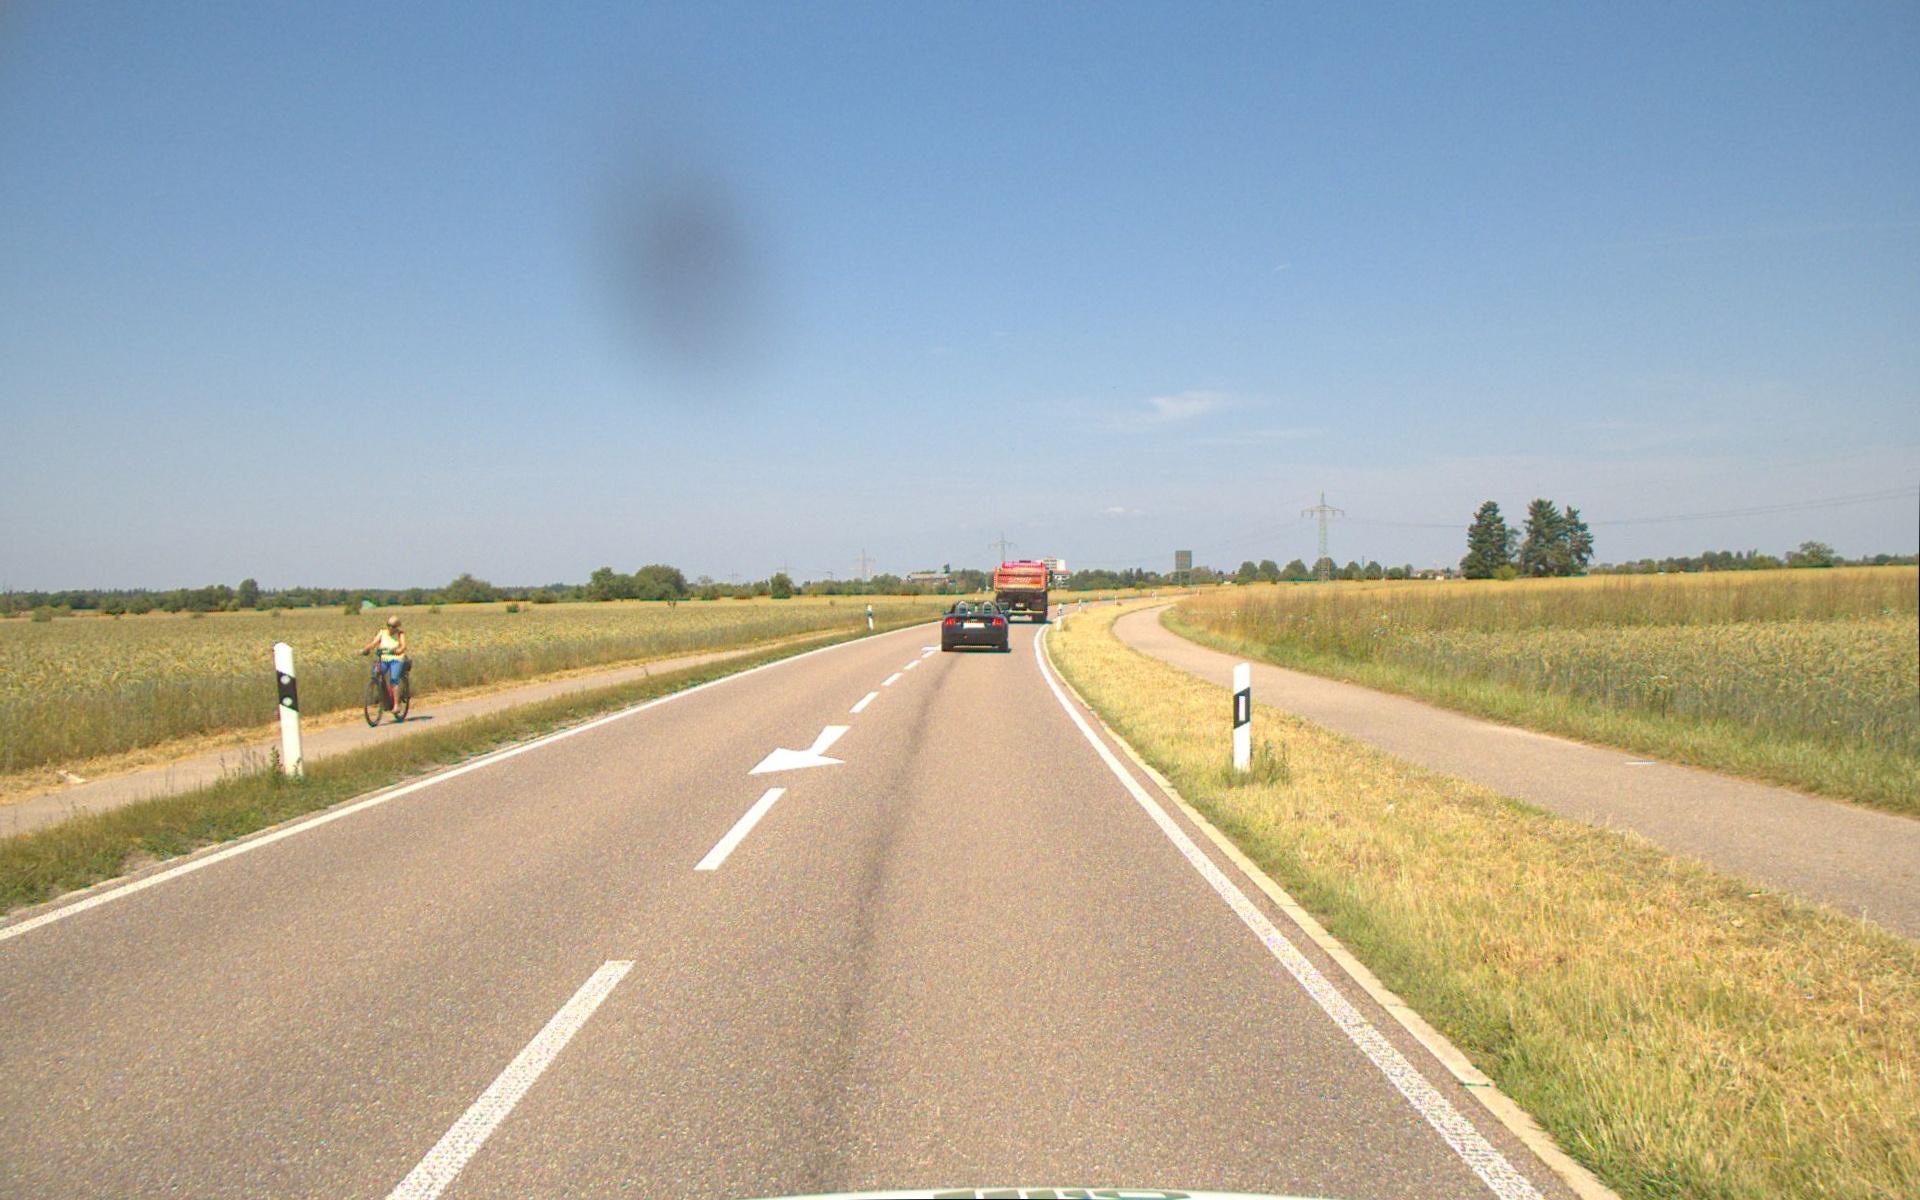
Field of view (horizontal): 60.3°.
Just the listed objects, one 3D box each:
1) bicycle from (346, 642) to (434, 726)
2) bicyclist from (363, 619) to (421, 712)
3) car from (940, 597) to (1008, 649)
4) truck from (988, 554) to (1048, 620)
[{"bbox_3d":[-9.116,1.330,26.545,0.680,1.197,1.964,-2,1,1],"label":"bicycle"},{"bbox_3d":[-9.119,1.040,26.572,0.650,1.463,0.823,0,0,0],"label":"bicyclist"},{"bbox_3d":[0.396,0.577,43.676,1.708,1.302,4.001,0,0,1],"label":"car"},{"bbox_3d":[2.980,-0.603,83.064,2.876,3.143,7.199,0,0,3],"label":"truck"}]
